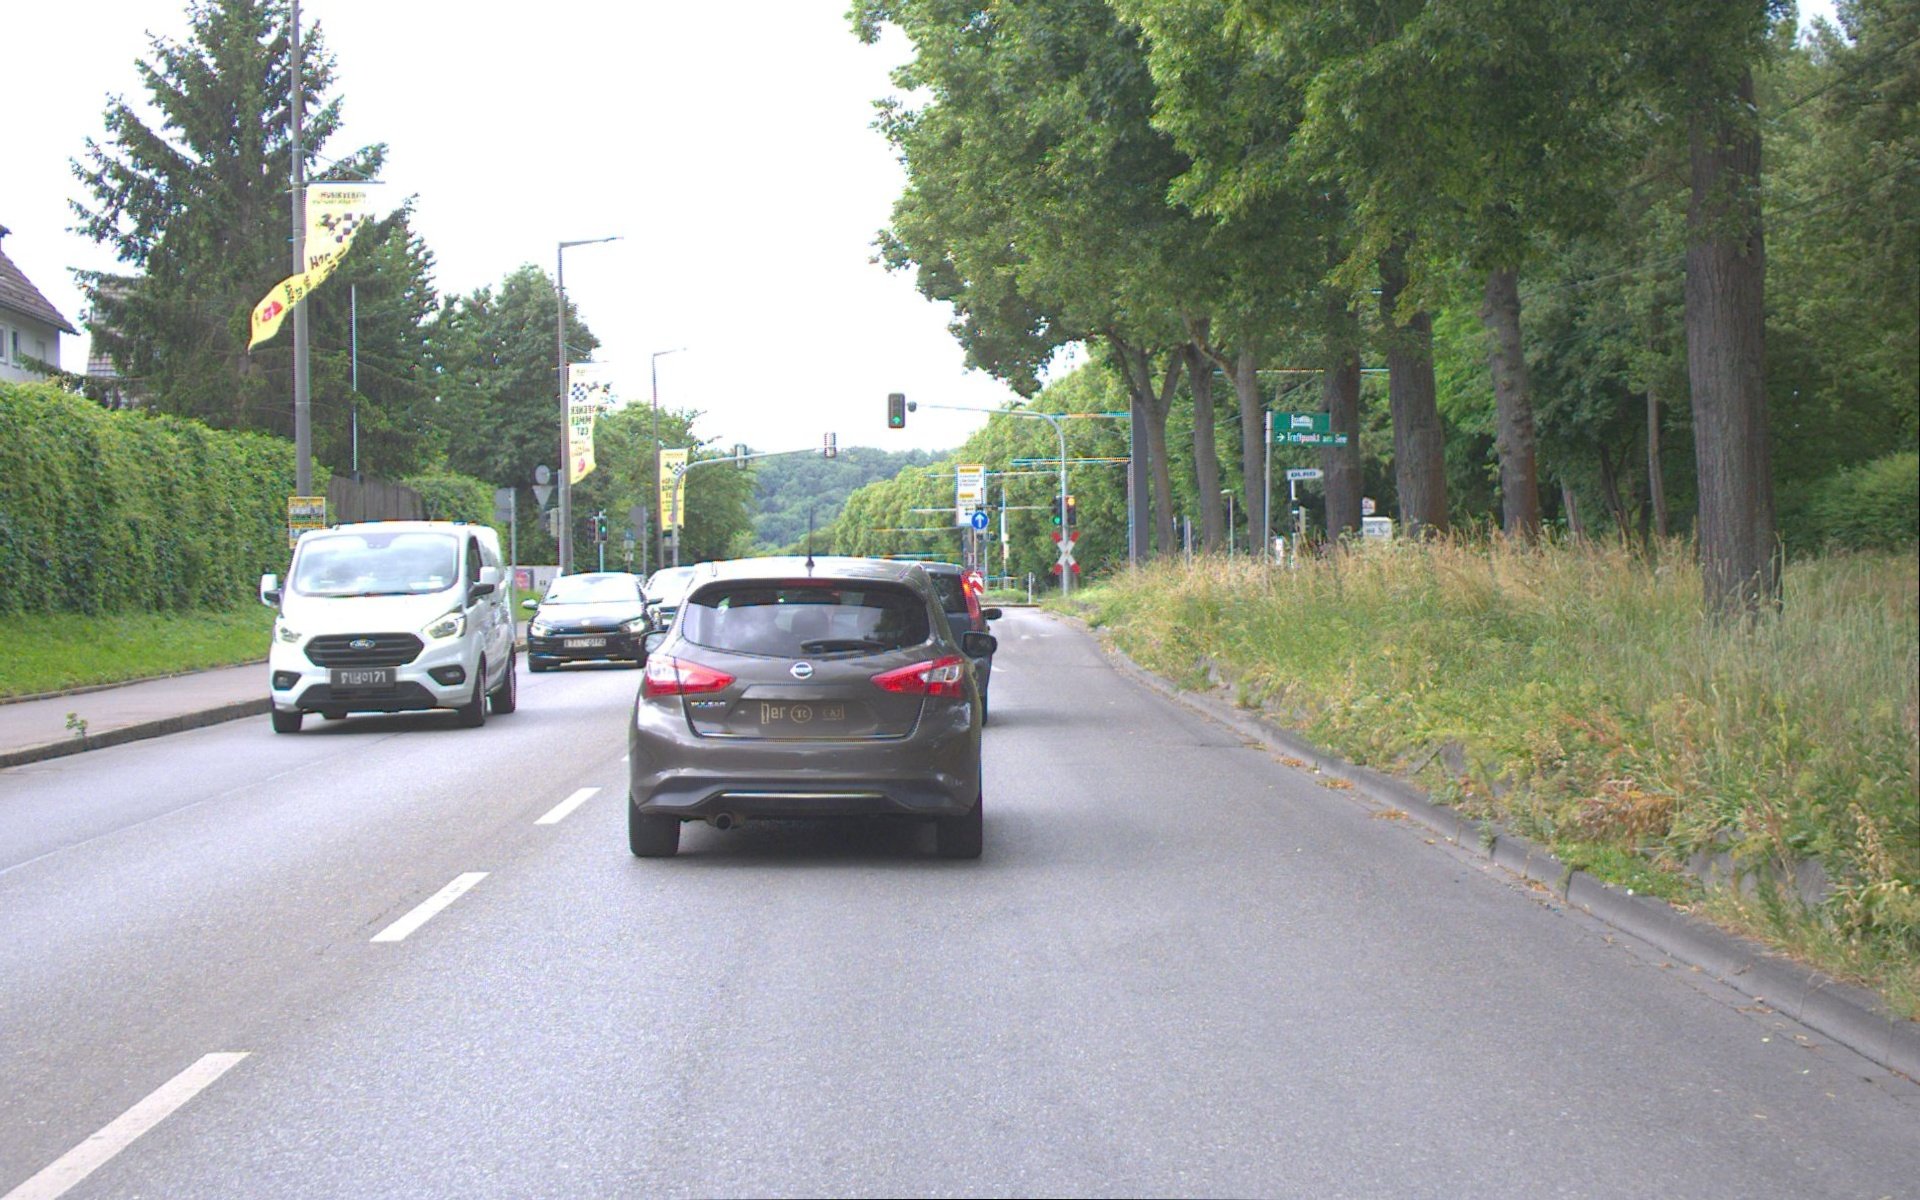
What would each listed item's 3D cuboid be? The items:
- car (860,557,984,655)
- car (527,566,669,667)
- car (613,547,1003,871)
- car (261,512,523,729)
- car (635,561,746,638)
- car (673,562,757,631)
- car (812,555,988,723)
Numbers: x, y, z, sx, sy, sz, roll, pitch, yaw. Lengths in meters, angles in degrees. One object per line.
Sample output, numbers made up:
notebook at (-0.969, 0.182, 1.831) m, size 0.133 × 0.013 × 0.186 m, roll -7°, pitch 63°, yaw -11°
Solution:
car at (-0.578, 0.064, 52.128) m, size 1.792 × 1.392 × 4.000 m, roll -1°, pitch 1°, yaw -1°
car at (-5.262, 0.211, 50.457) m, size 1.650 × 1.343 × 4.478 m, roll -2°, pitch 1°, yaw -1°
car at (-0.750, 0.488, 18.611) m, size 1.835 × 1.514 × 4.483 m, roll 1°, pitch 1°, yaw -1°
car at (-5.511, 0.152, 33.919) m, size 1.906 × 1.925 × 4.911 m, roll -2°, pitch 1°, yaw -2°
car at (-5.161, -0.036, 66.277) m, size 1.886 × 1.378 × 4.491 m, roll -2°, pitch 1°, yaw -2°
car at (-5.830, -0.110, 82.110) m, size 1.751 × 1.513 × 4.000 m, roll -3°, pitch 1°, yaw -1°
car at (-0.549, 0.318, 32.081) m, size 1.538 × 1.473 × 3.764 m, roll 0°, pitch 1°, yaw -1°
